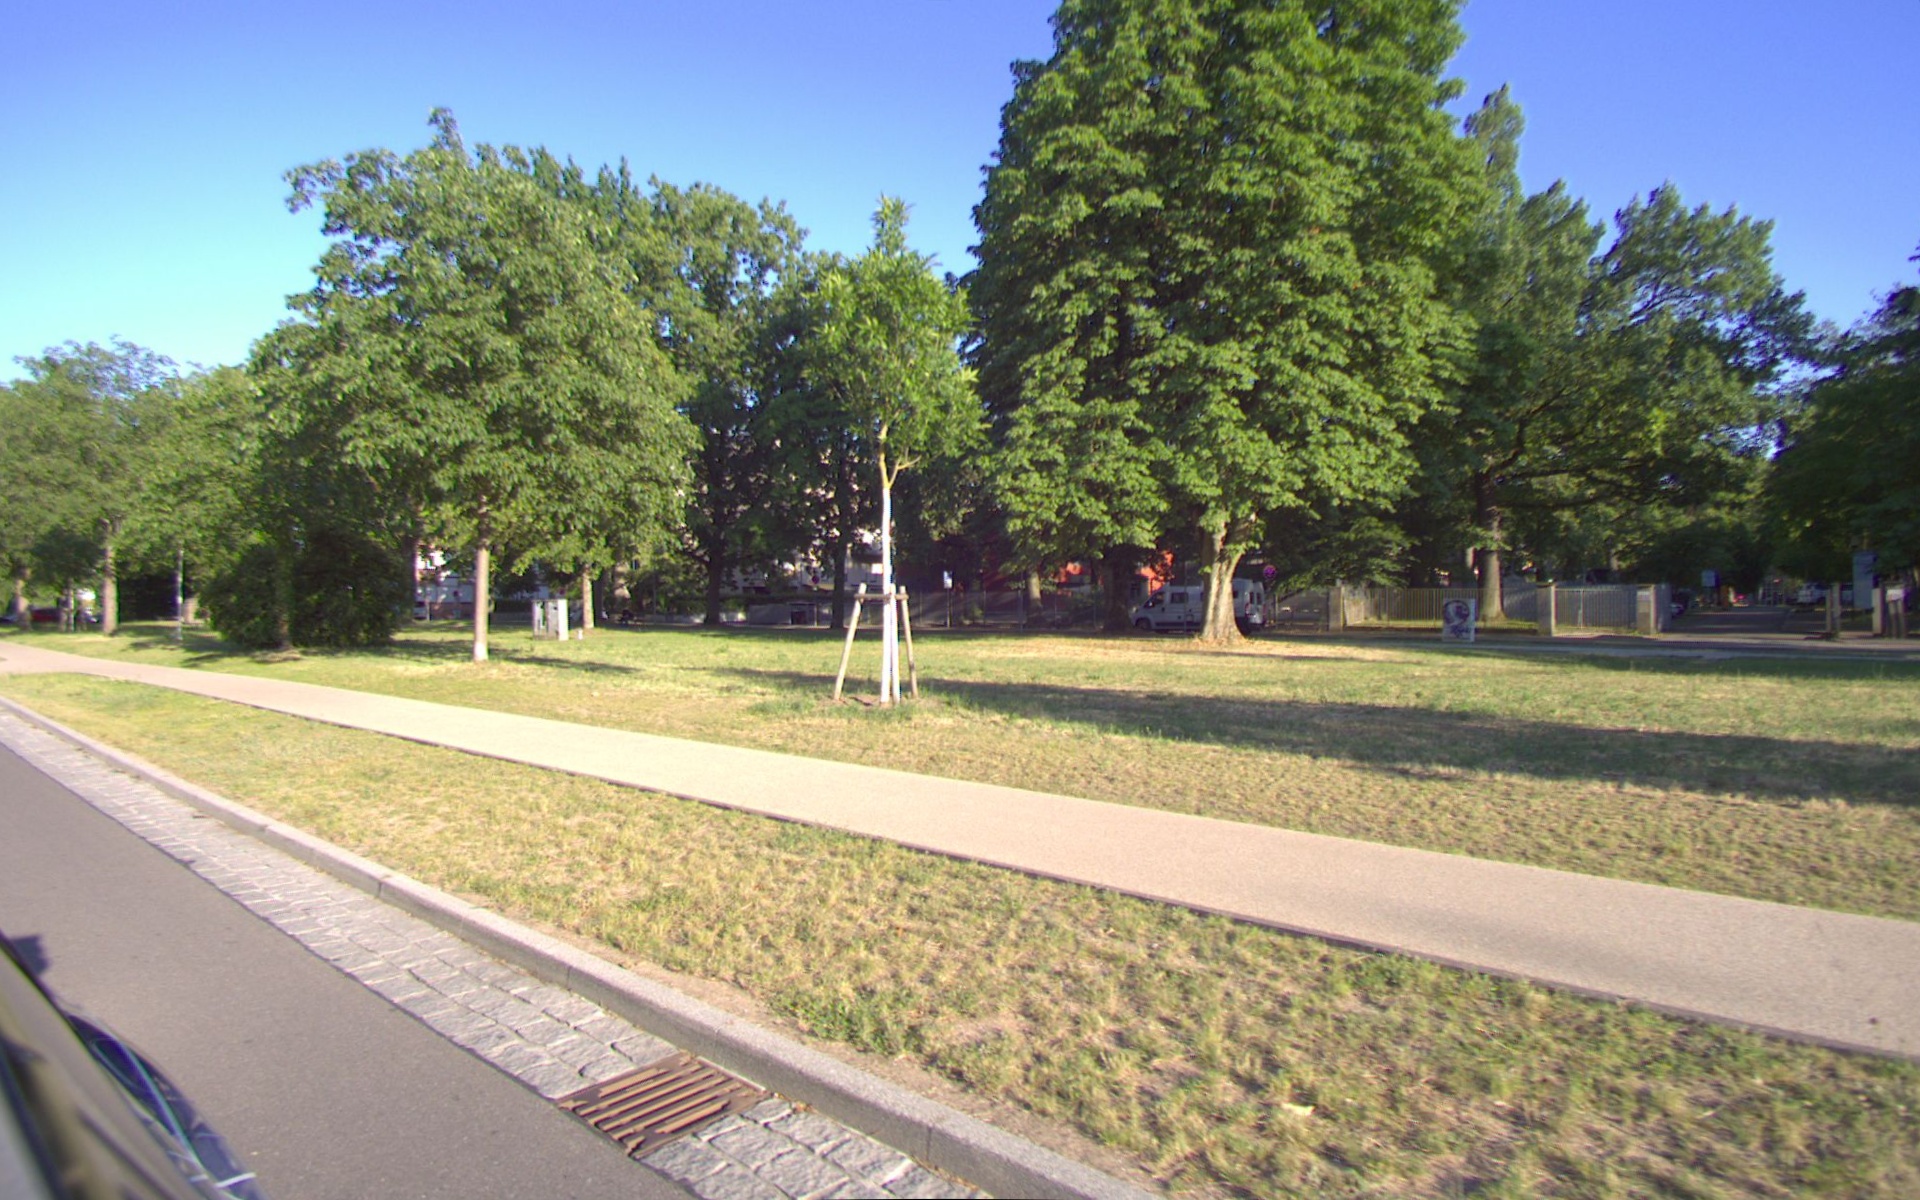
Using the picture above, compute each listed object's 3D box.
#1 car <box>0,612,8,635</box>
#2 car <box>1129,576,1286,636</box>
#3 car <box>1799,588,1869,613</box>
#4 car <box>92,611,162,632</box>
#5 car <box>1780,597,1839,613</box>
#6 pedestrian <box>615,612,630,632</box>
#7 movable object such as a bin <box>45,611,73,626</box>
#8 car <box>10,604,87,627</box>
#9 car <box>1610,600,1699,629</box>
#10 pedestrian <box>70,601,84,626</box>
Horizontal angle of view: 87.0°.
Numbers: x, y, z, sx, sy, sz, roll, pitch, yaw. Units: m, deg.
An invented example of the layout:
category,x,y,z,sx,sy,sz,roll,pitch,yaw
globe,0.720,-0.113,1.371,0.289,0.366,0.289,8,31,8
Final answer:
category,x,y,z,sx,sy,sz,roll,pitch,yaw
car,-70.302,1.693,71.559,1.874,1.586,3.980,1,0,16
car,10.998,0.276,45.215,6.312,2.482,2.694,0,-1,39
car,74.106,0.059,85.822,4.204,2.074,1.626,0,-1,11
car,-67.289,1.731,81.844,1.876,1.586,3.974,1,0,20
car,84.259,0.521,100.388,4.204,1.600,1.626,0,-1,11
pedestrian,-16.944,1.108,50.780,0.541,0.994,0.611,1,-1,-39
movable object such as a bin,-61.954,1.283,69.597,0.949,0.997,1.315,0,-1,40
car,-68.860,1.145,76.502,1.874,1.586,3.980,1,0,16
car,41.056,0.824,59.889,4.246,1.661,1.610,0,-1,40
pedestrian,-61.347,0.919,70.345,0.672,1.708,0.655,-1,0,42
